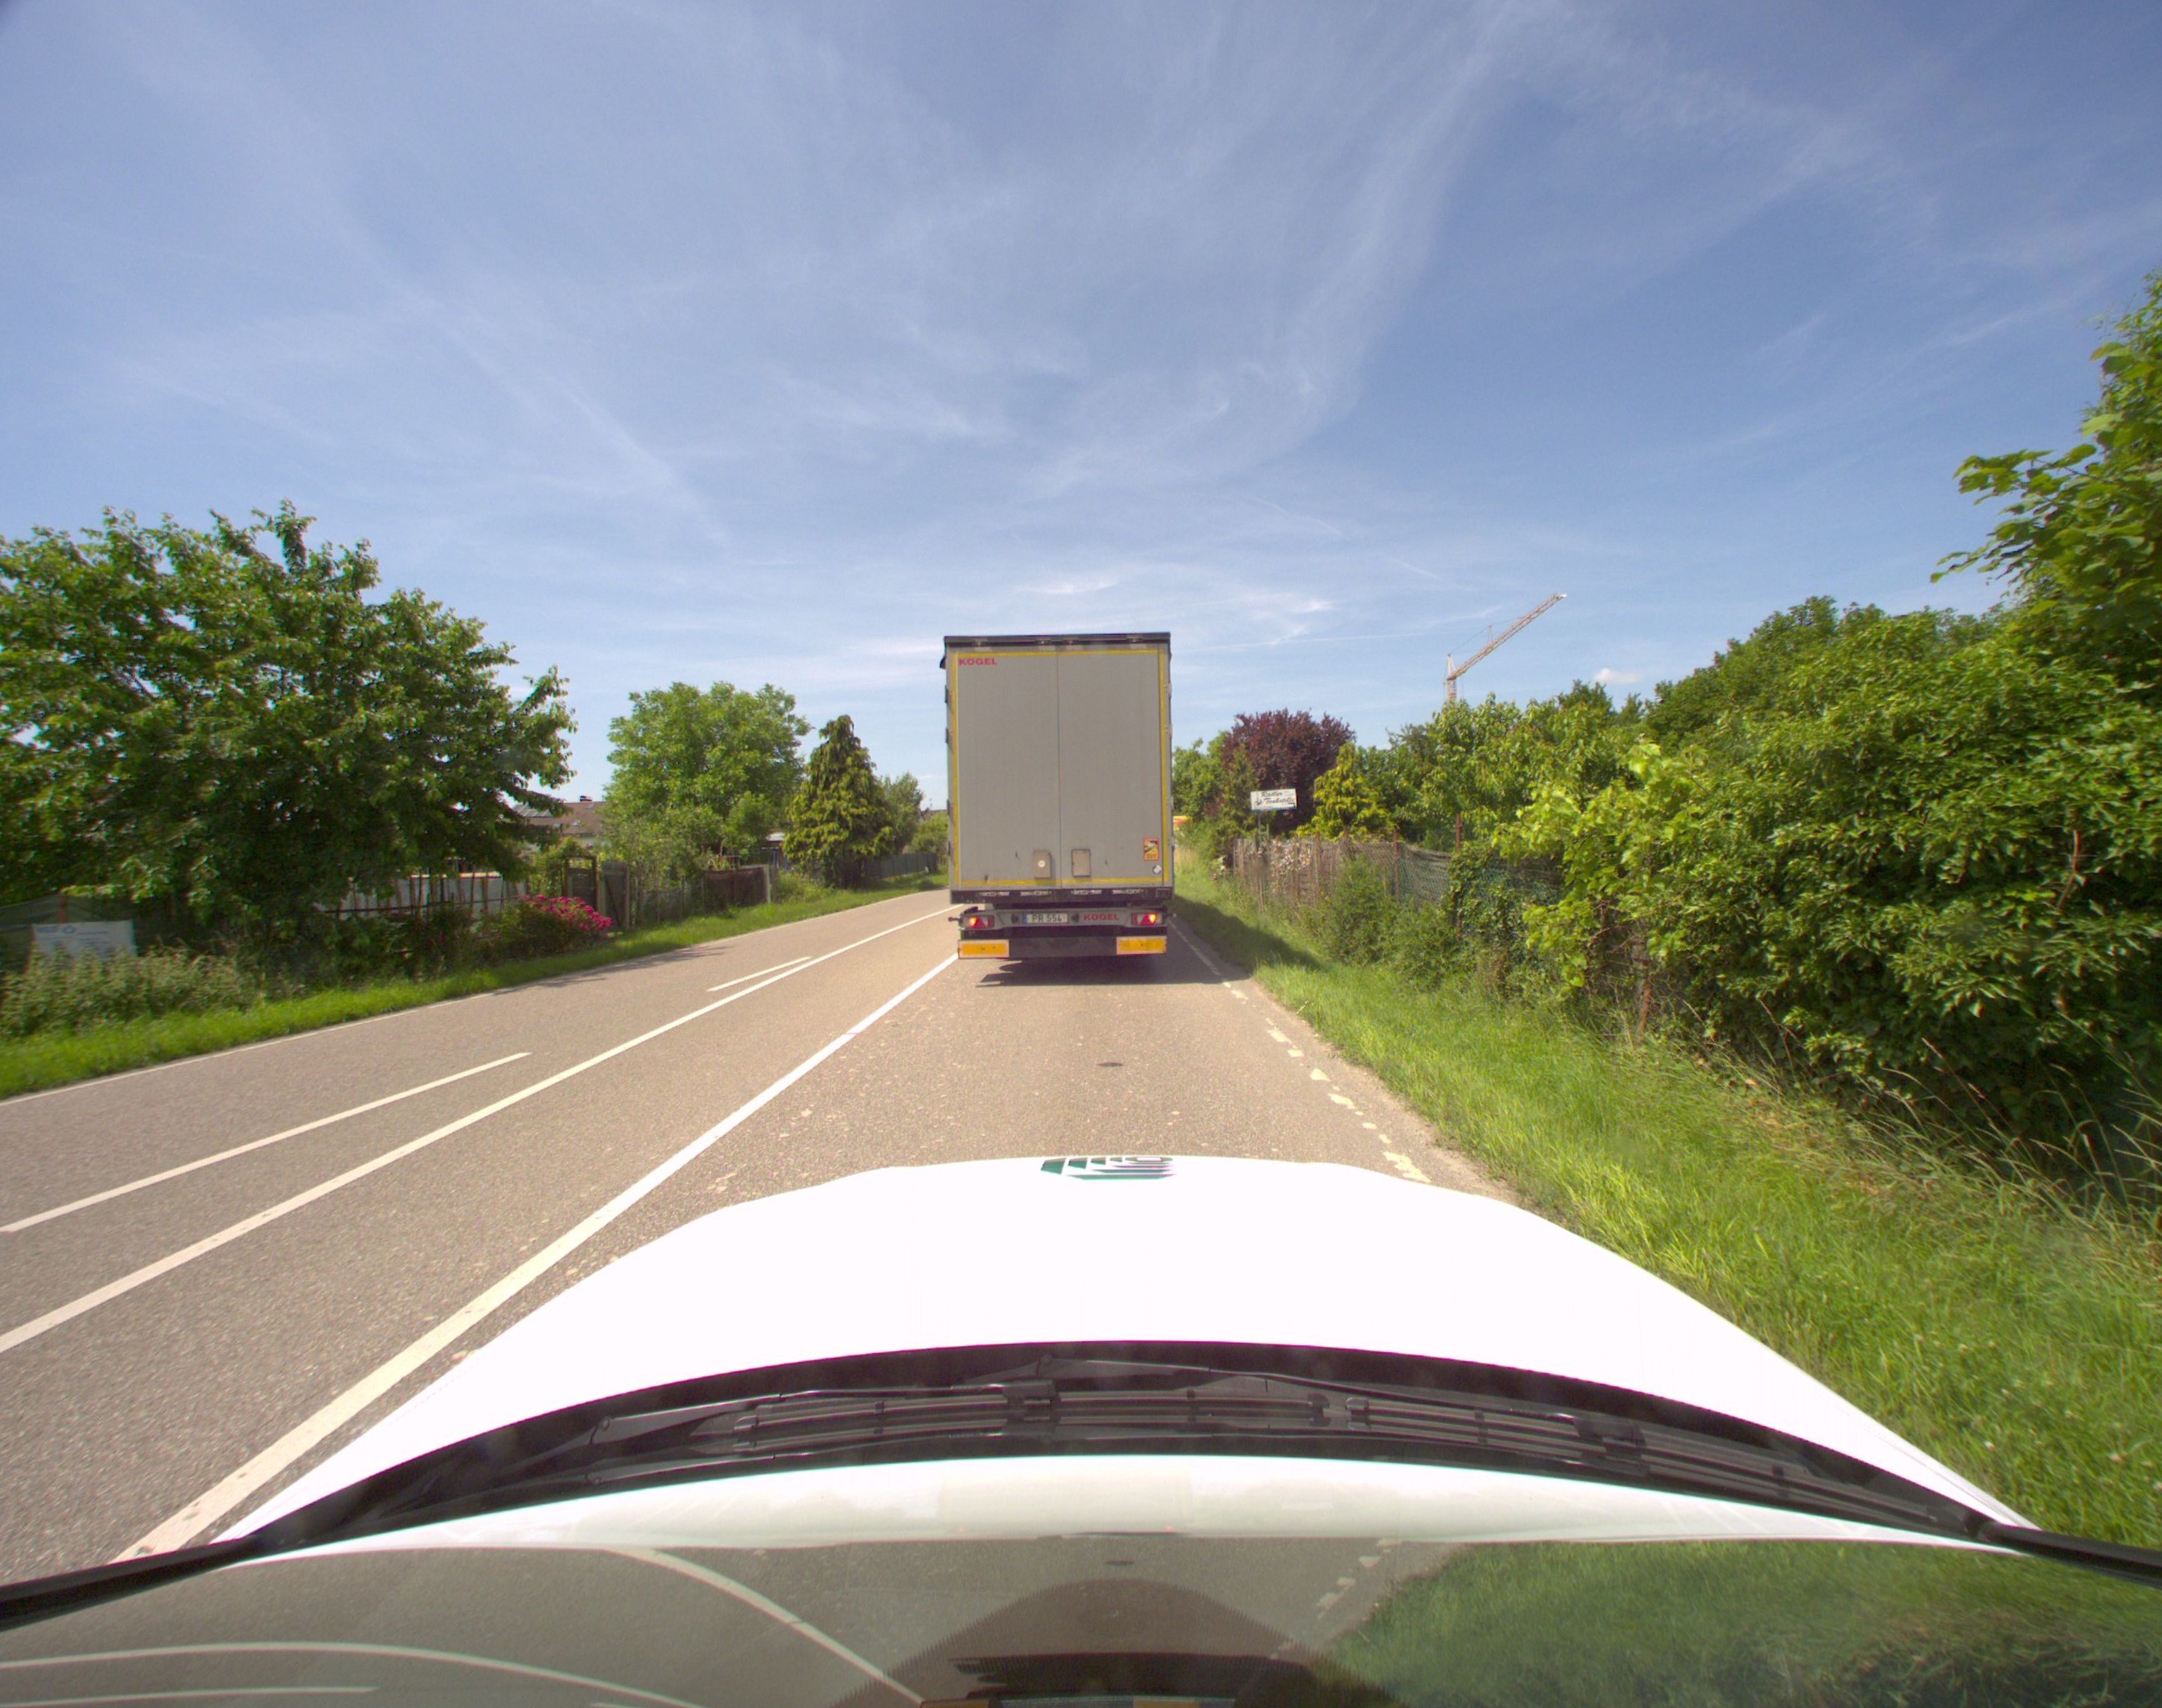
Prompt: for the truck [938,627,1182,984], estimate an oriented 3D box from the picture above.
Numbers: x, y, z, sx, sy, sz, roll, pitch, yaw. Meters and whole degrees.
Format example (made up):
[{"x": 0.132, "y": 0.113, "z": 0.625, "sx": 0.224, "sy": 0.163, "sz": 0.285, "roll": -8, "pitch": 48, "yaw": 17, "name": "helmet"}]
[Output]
[{"x": -0.243, "y": -0.562, "z": 13.453, "sx": 2.639, "sy": 3.917, "sz": 8.823, "roll": -1, "pitch": 0, "yaw": 0, "name": "truck"}]
